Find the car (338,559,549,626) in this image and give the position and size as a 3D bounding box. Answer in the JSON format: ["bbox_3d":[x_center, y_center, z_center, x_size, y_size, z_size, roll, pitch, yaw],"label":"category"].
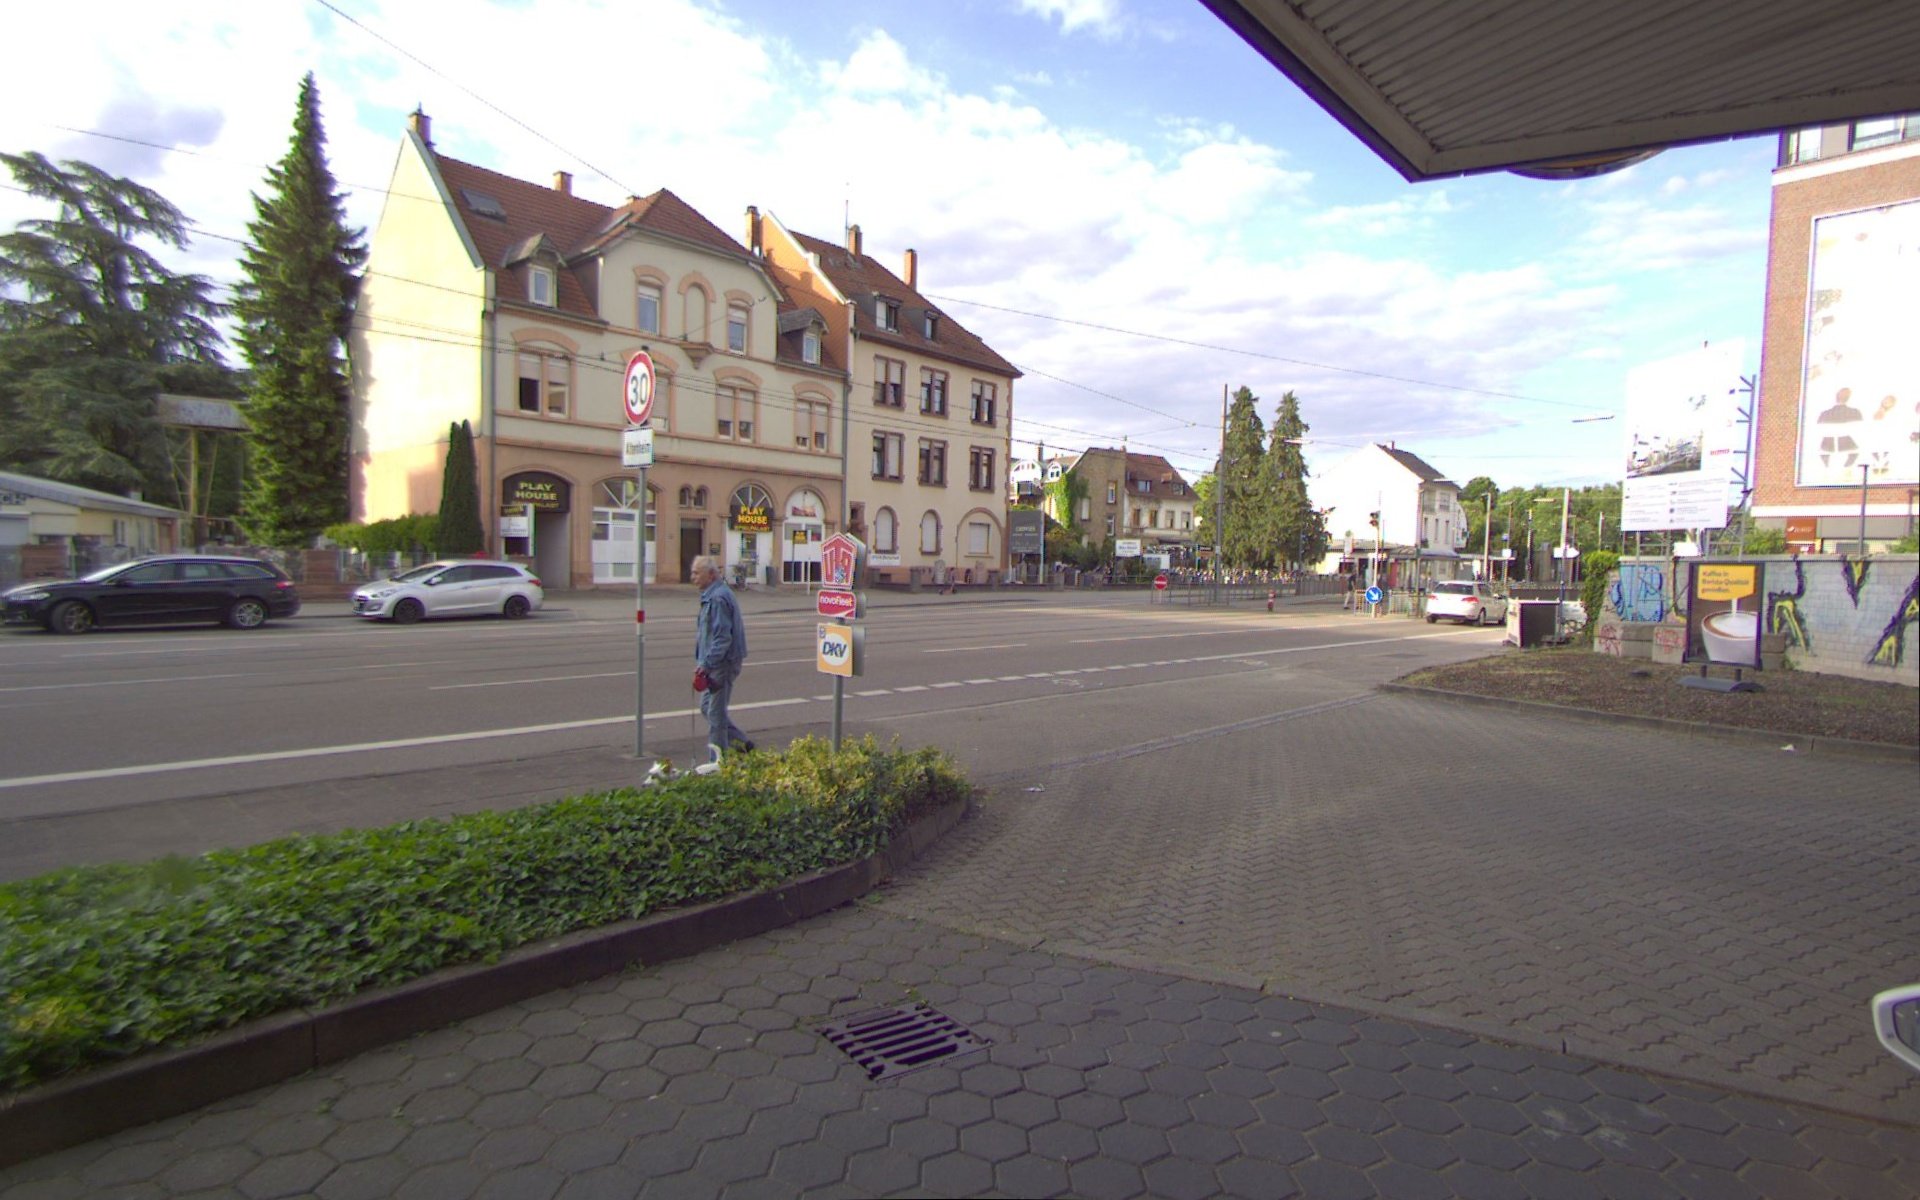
[{"bbox_3d":[-12.921,-0.236,25.359,1.699,1.503,4.434,4,4,40],"label":"car"}]

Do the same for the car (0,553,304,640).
[{"bbox_3d":[-16.602,-0.140,20.737,1.983,1.520,4.755,4,4,39],"label":"car"}]

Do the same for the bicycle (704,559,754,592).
[{"bbox_3d":[-9.109,-0.960,39.613,0.665,1.229,1.862,4,2,41],"label":"bicycle"}]

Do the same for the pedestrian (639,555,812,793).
[{"bbox_3d":[-1.832,0.527,7.807,0.962,1.690,0.993,1,0,-39],"label":"pedestrian"}]

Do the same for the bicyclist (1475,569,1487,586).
[{"bbox_3d":[48.452,-2.085,93.425,0.671,1.555,1.079,2,2,43],"label":"bicyclist"}]

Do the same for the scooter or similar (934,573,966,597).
[{"bbox_3d":[-0.439,-0.671,45.115,0.461,1.041,1.655,4,3,40],"label":"scooter or similar"}]

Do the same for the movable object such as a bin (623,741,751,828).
[{"bbox_3d":[-1.781,1.184,6.549,0.674,0.426,0.476,1,0,-38],"label":"movable object such as a bin"}]

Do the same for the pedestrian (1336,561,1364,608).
[{"bbox_3d":[17.292,-0.679,44.554,0.836,2.040,0.807,2,0,-11],"label":"pedestrian"}]

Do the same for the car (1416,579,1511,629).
[{"bbox_3d":[17.238,0.084,34.292,1.735,1.497,3.975,6,5,44],"label":"car"}]

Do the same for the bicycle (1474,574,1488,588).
[{"bbox_3d":[48.440,-1.766,93.439,0.671,1.239,1.908,2,2,43],"label":"bicycle"}]
